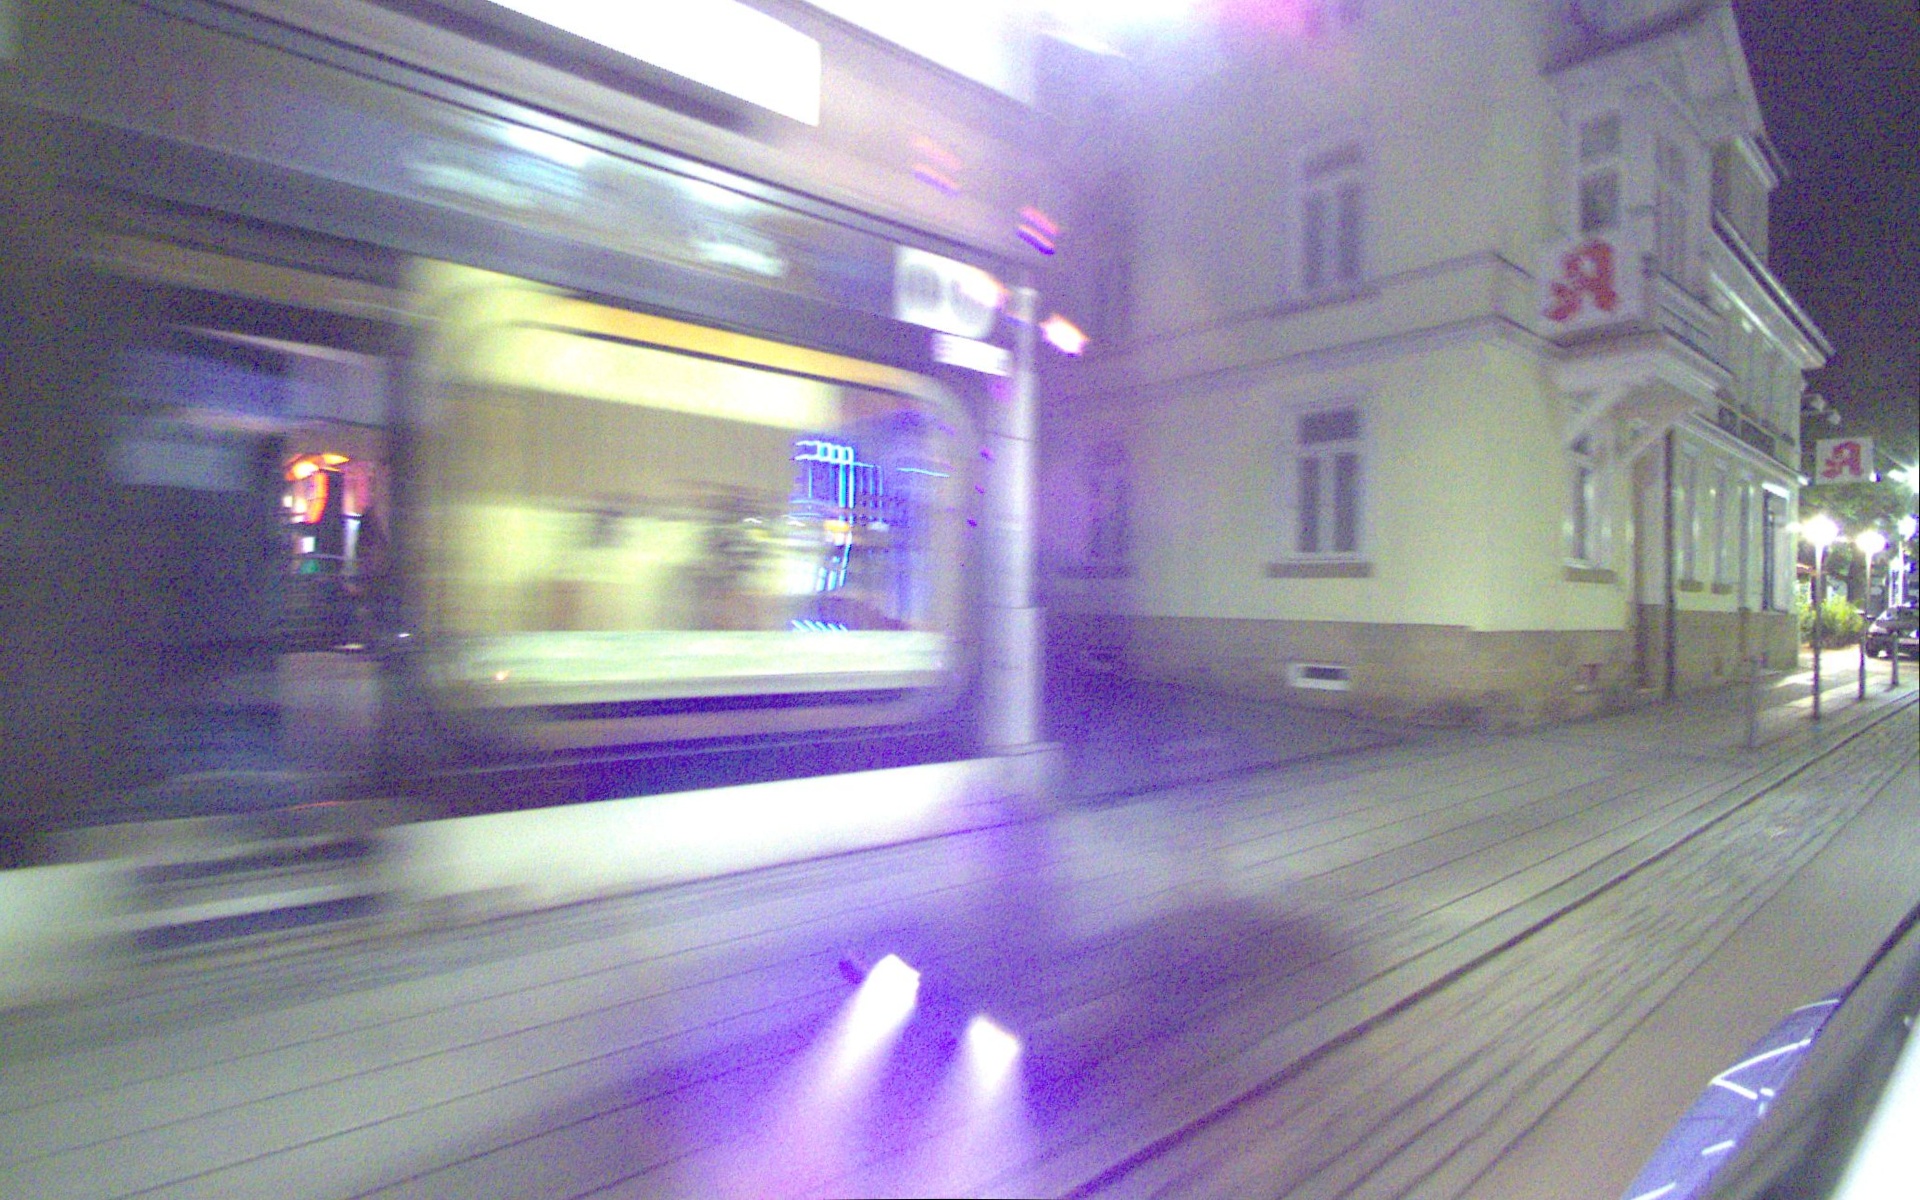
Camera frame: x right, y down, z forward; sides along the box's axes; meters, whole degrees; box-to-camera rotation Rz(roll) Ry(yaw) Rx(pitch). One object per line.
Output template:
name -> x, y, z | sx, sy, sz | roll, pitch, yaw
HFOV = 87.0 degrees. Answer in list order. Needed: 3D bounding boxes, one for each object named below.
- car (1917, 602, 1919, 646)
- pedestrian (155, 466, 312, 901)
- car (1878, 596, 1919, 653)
car -> 29.659, 0.630, 29.580 | 4.385, 1.482, 1.758 | 0, 3, -38
pedestrian -> -2.845, 0.298, 3.988 | 0.471, 1.567, 0.503 | 0, -1, -35
car -> 25.497, 0.628, 26.337 | 4.029, 1.394, 1.666 | 0, 3, -38
